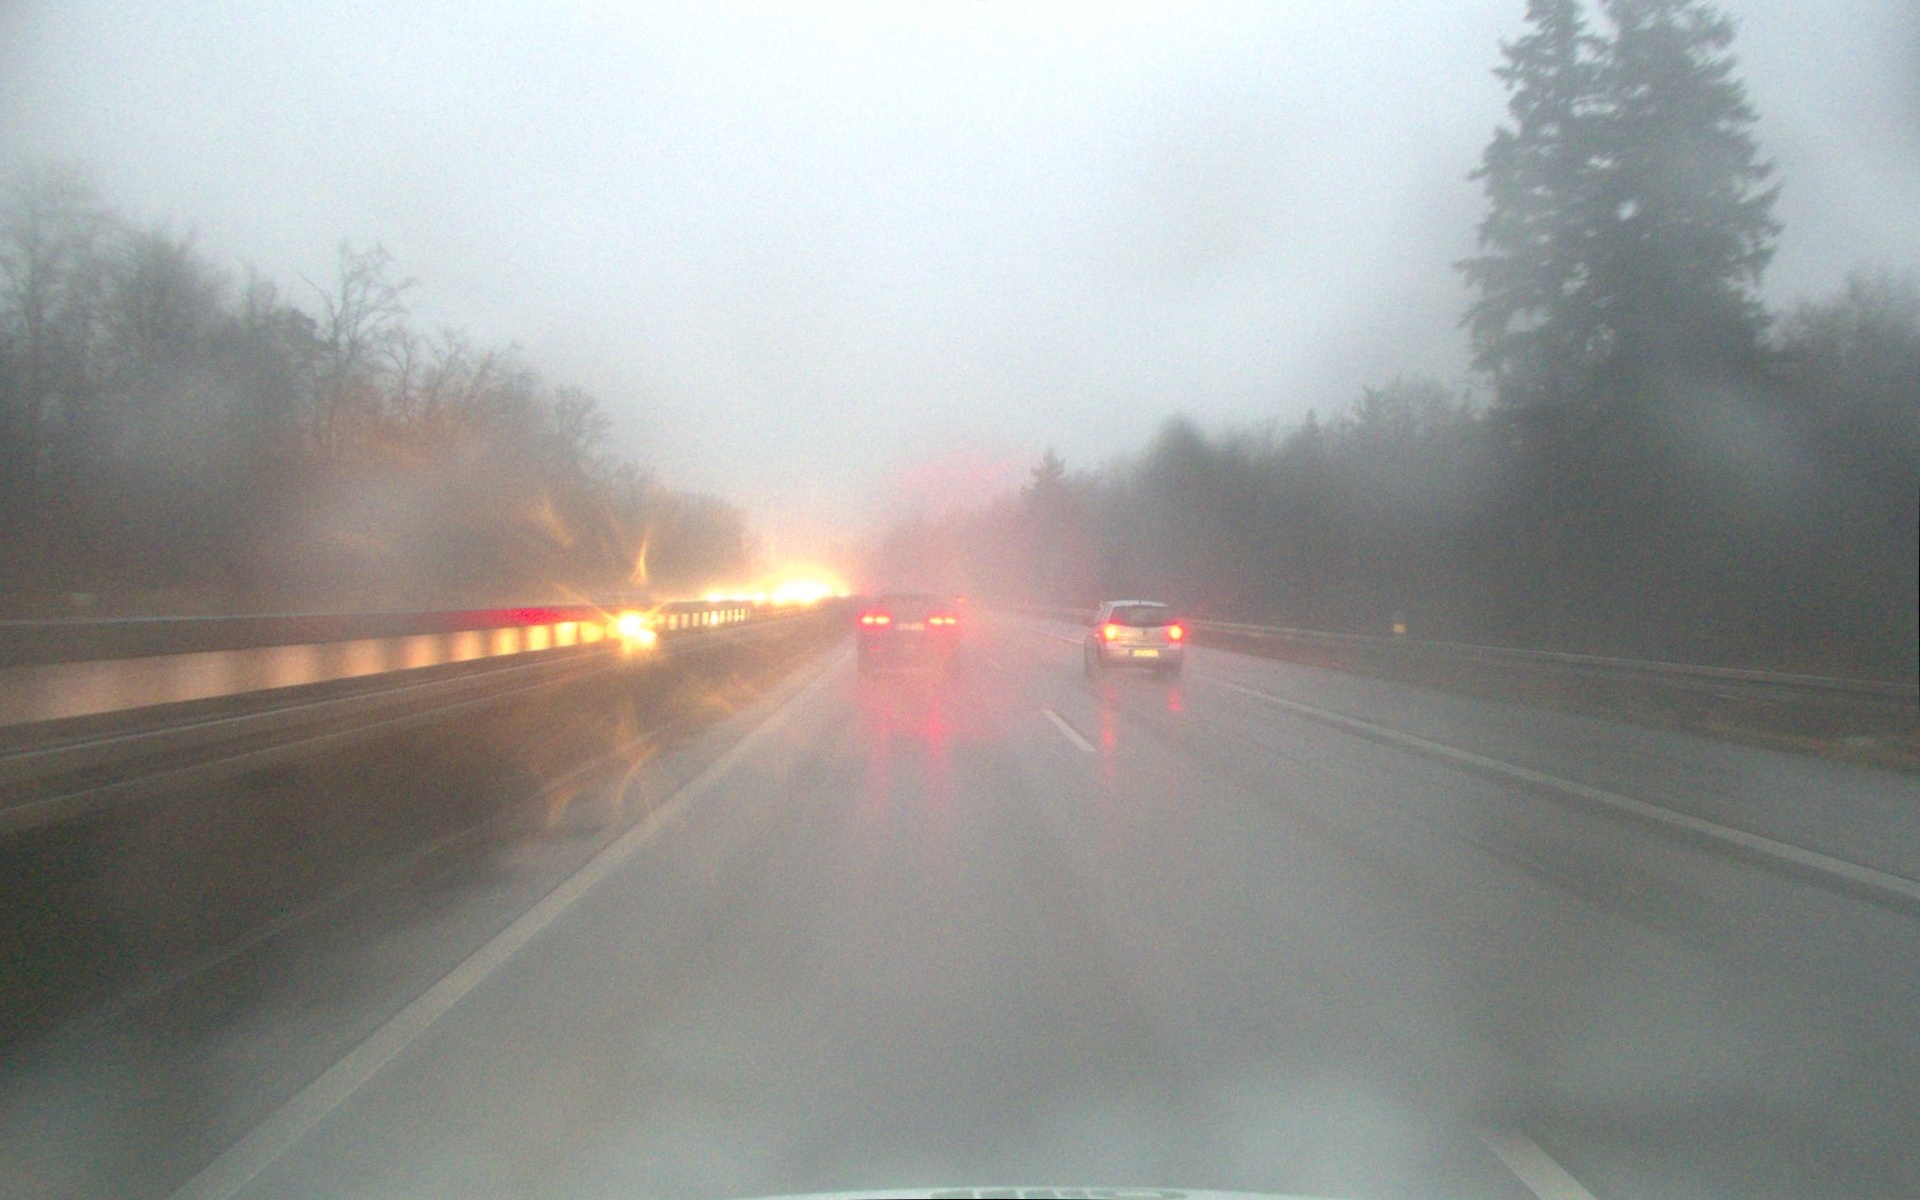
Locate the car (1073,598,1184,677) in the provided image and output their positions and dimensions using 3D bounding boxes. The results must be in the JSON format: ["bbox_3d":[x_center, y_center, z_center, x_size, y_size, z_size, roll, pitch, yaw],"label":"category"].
[{"bbox_3d":[3.308,0.701,33.012,1.744,1.462,3.536,1,0,-2],"label":"car"}]

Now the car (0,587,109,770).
[{"bbox_3d":[-8.770,0.648,13.402,1.643,1.520,4.256,0,0,-2],"label":"car"}]

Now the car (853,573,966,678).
[{"bbox_3d":[-0.956,0.431,30.716,1.946,1.798,4.171,1,0,-2],"label":"car"}]
